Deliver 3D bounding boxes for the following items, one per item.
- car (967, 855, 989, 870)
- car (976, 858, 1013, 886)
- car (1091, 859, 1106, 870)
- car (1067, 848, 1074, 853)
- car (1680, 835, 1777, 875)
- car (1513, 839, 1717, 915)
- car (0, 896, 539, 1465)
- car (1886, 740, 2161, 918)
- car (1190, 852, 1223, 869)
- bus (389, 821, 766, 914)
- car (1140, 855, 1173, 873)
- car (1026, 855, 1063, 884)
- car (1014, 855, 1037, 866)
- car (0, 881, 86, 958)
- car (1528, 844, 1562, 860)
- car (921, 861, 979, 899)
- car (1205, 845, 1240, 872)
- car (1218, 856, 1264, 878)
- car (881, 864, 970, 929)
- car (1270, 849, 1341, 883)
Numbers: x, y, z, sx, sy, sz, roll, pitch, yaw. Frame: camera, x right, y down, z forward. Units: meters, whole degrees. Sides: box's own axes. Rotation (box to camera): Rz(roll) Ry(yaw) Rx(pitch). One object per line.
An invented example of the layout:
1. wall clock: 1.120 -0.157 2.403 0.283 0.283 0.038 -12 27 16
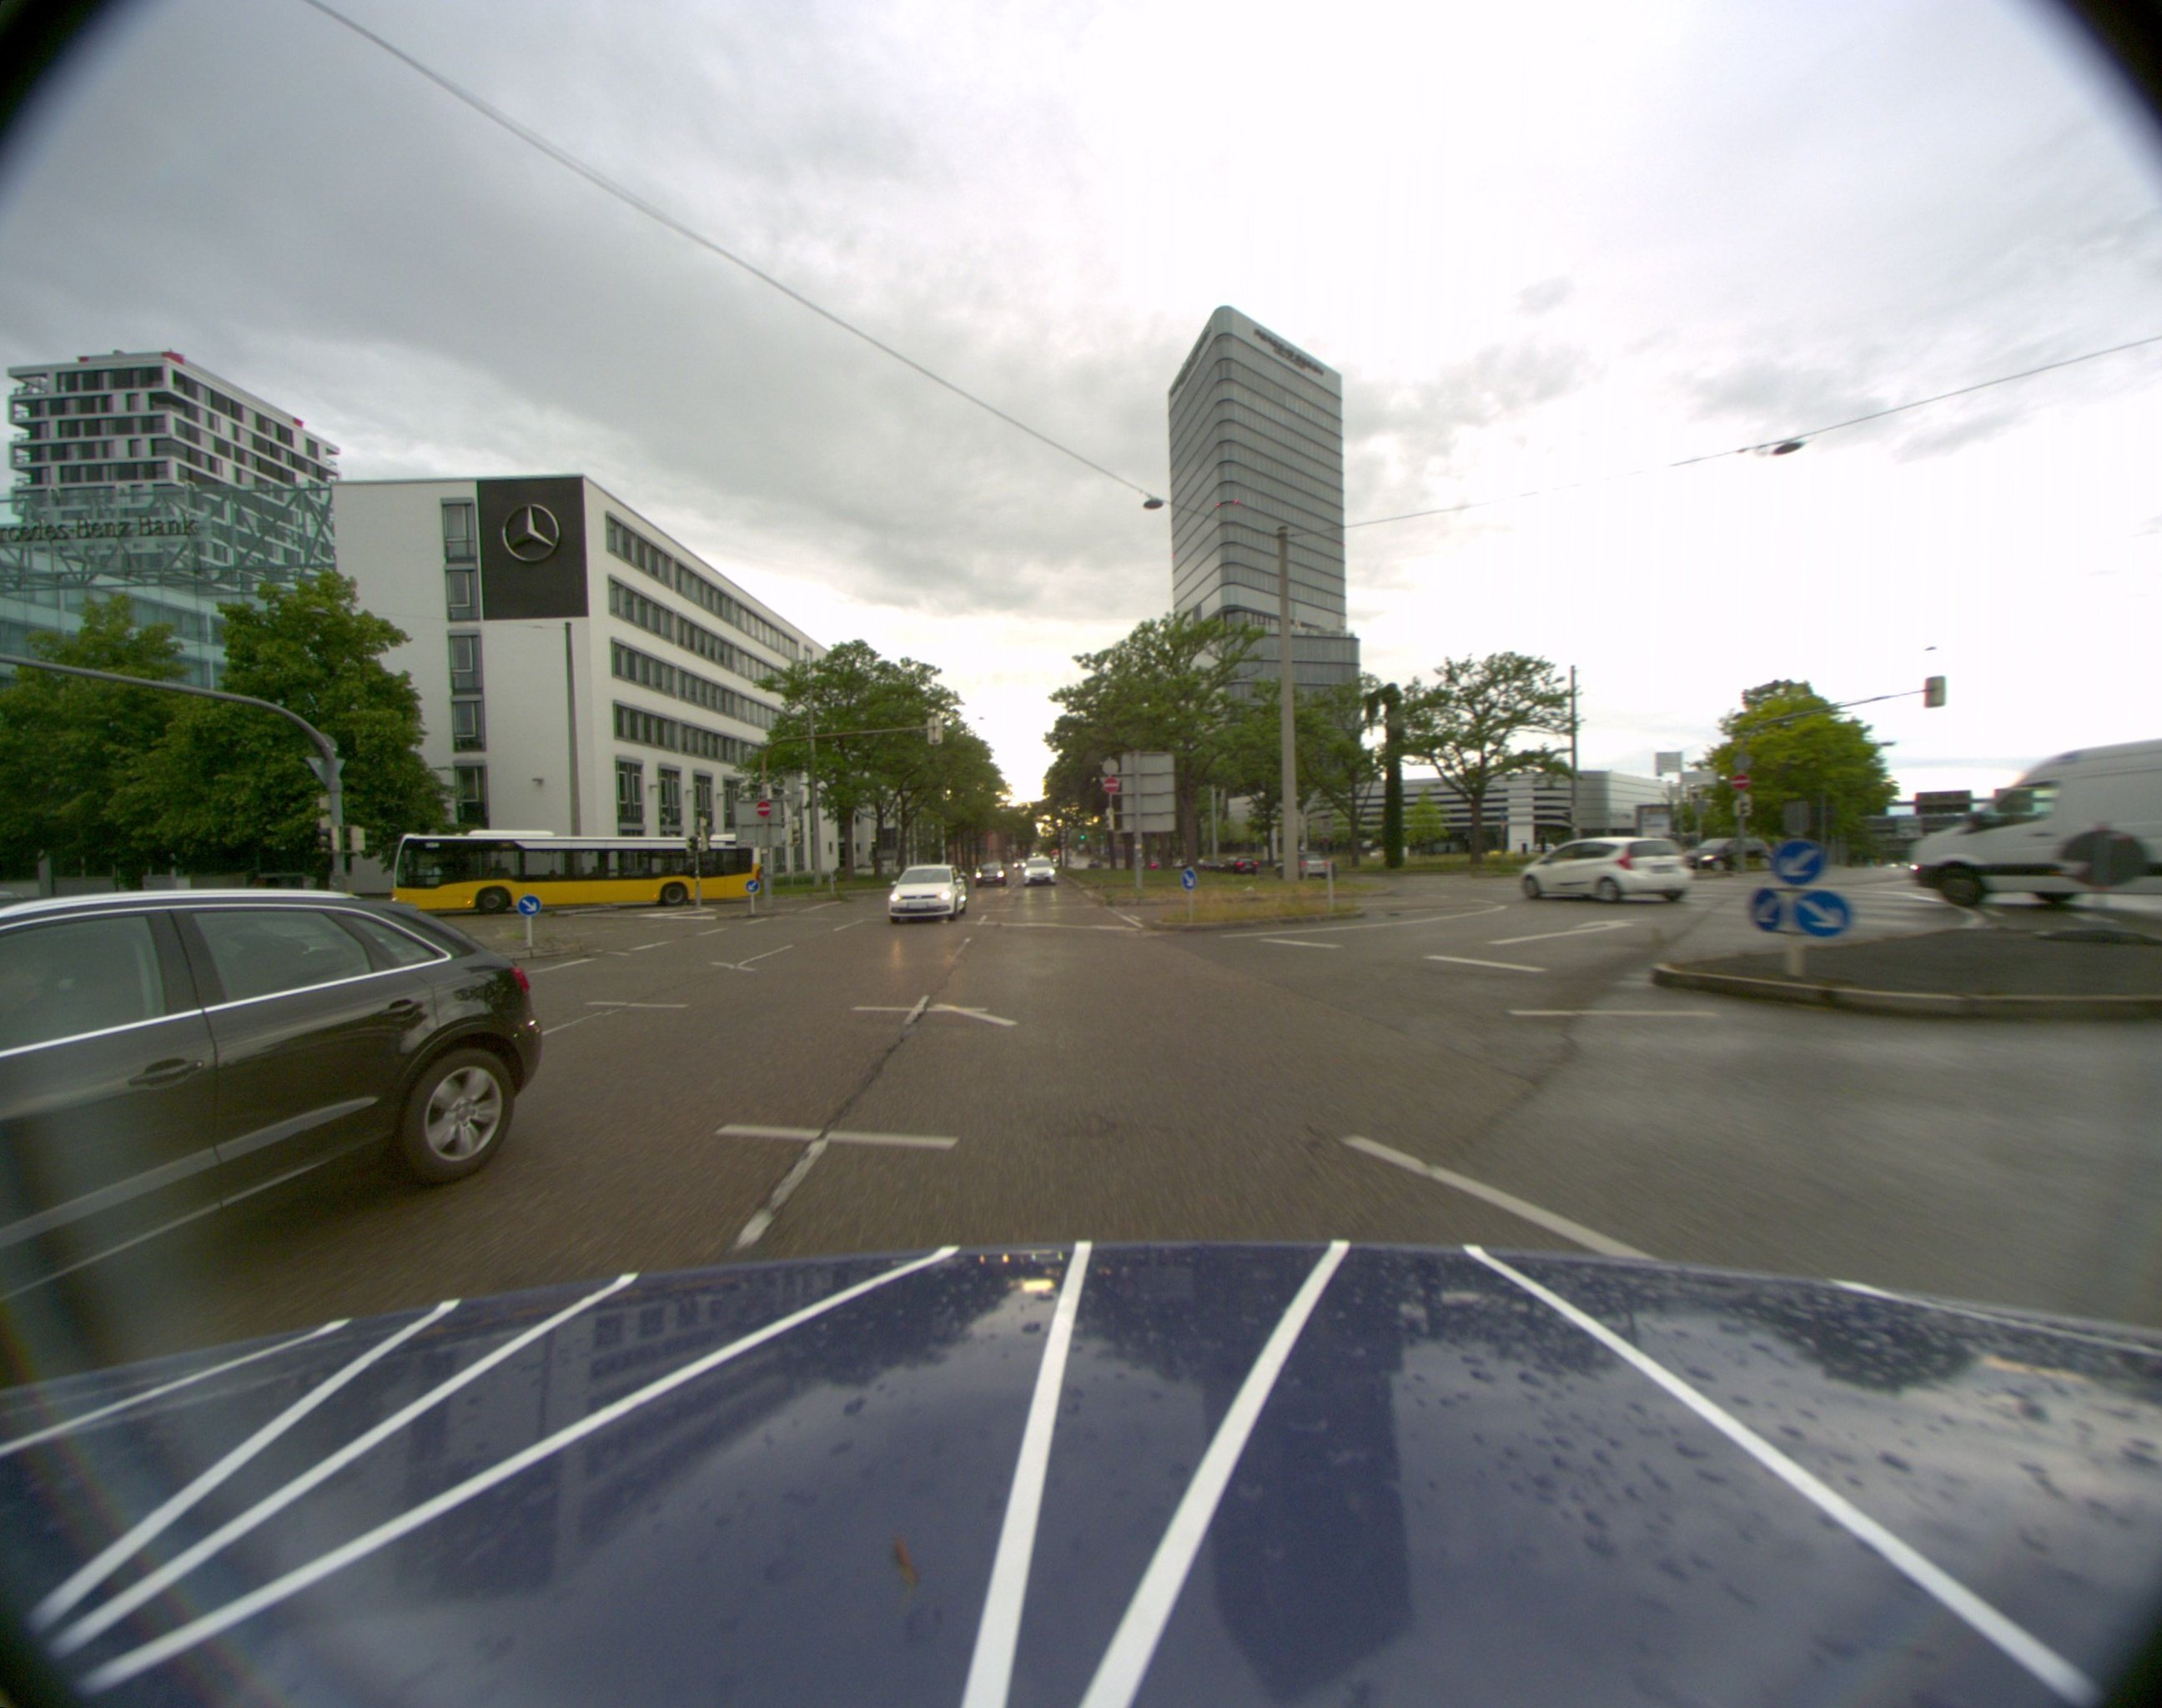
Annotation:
1. car: -11.578 0.955 85.885 1.999 1.576 3.999 -2 1 -1
2. car: -5.094 1.024 45.079 1.625 1.426 3.550 -3 1 1
3. car: 2.466 1.510 108.461 1.791 1.387 3.880 -2 0 -3
4. car: -3.539 -1.098 258.648 1.894 1.445 3.998 -4 1 -5
5. car: 31.187 0.040 36.610 4.004 1.652 1.996 -4 1 -24
6. car: 12.518 0.467 18.165 1.756 1.504 3.997 -4 1 -6
7. car: -4.225 1.083 2.410 1.889 1.586 4.114 -2 0 2
8. car: 16.417 -0.391 11.334 1.999 2.545 6.166 -1 2 -3
9. car: 10.865 0.556 66.124 1.999 1.379 3.998 -1 1 -3
10. bus: -19.399 0.507 30.473 12.169 3.132 2.729 0 -2 -38
11. car: 6.682 0.867 67.769 1.907 1.480 4.889 -2 0 -6
12. car: -2.091 0.851 43.579 1.999 1.455 3.999 -2 1 -2
13. car: -7.921 0.958 108.477 1.996 1.477 4.004 -1 1 14
14. car: -25.078 1.521 17.249 4.053 1.560 1.873 -2 3 22
15. car: 41.349 -0.213 67.851 1.617 1.237 4.004 -3 1 17
16. car: -5.749 1.113 33.925 1.878 1.346 4.330 -3 1 -2
17. car: 13.071 0.445 70.312 1.835 1.611 4.570 6 -9 -6
18. car: 11.505 0.908 54.912 1.830 1.464 4.665 -1 0 -6
19. car: -4.066 1.054 20.443 1.746 1.423 3.810 -3 1 -3
20. car: 12.610 0.677 42.960 2.000 1.566 4.191 -8 1 -10
